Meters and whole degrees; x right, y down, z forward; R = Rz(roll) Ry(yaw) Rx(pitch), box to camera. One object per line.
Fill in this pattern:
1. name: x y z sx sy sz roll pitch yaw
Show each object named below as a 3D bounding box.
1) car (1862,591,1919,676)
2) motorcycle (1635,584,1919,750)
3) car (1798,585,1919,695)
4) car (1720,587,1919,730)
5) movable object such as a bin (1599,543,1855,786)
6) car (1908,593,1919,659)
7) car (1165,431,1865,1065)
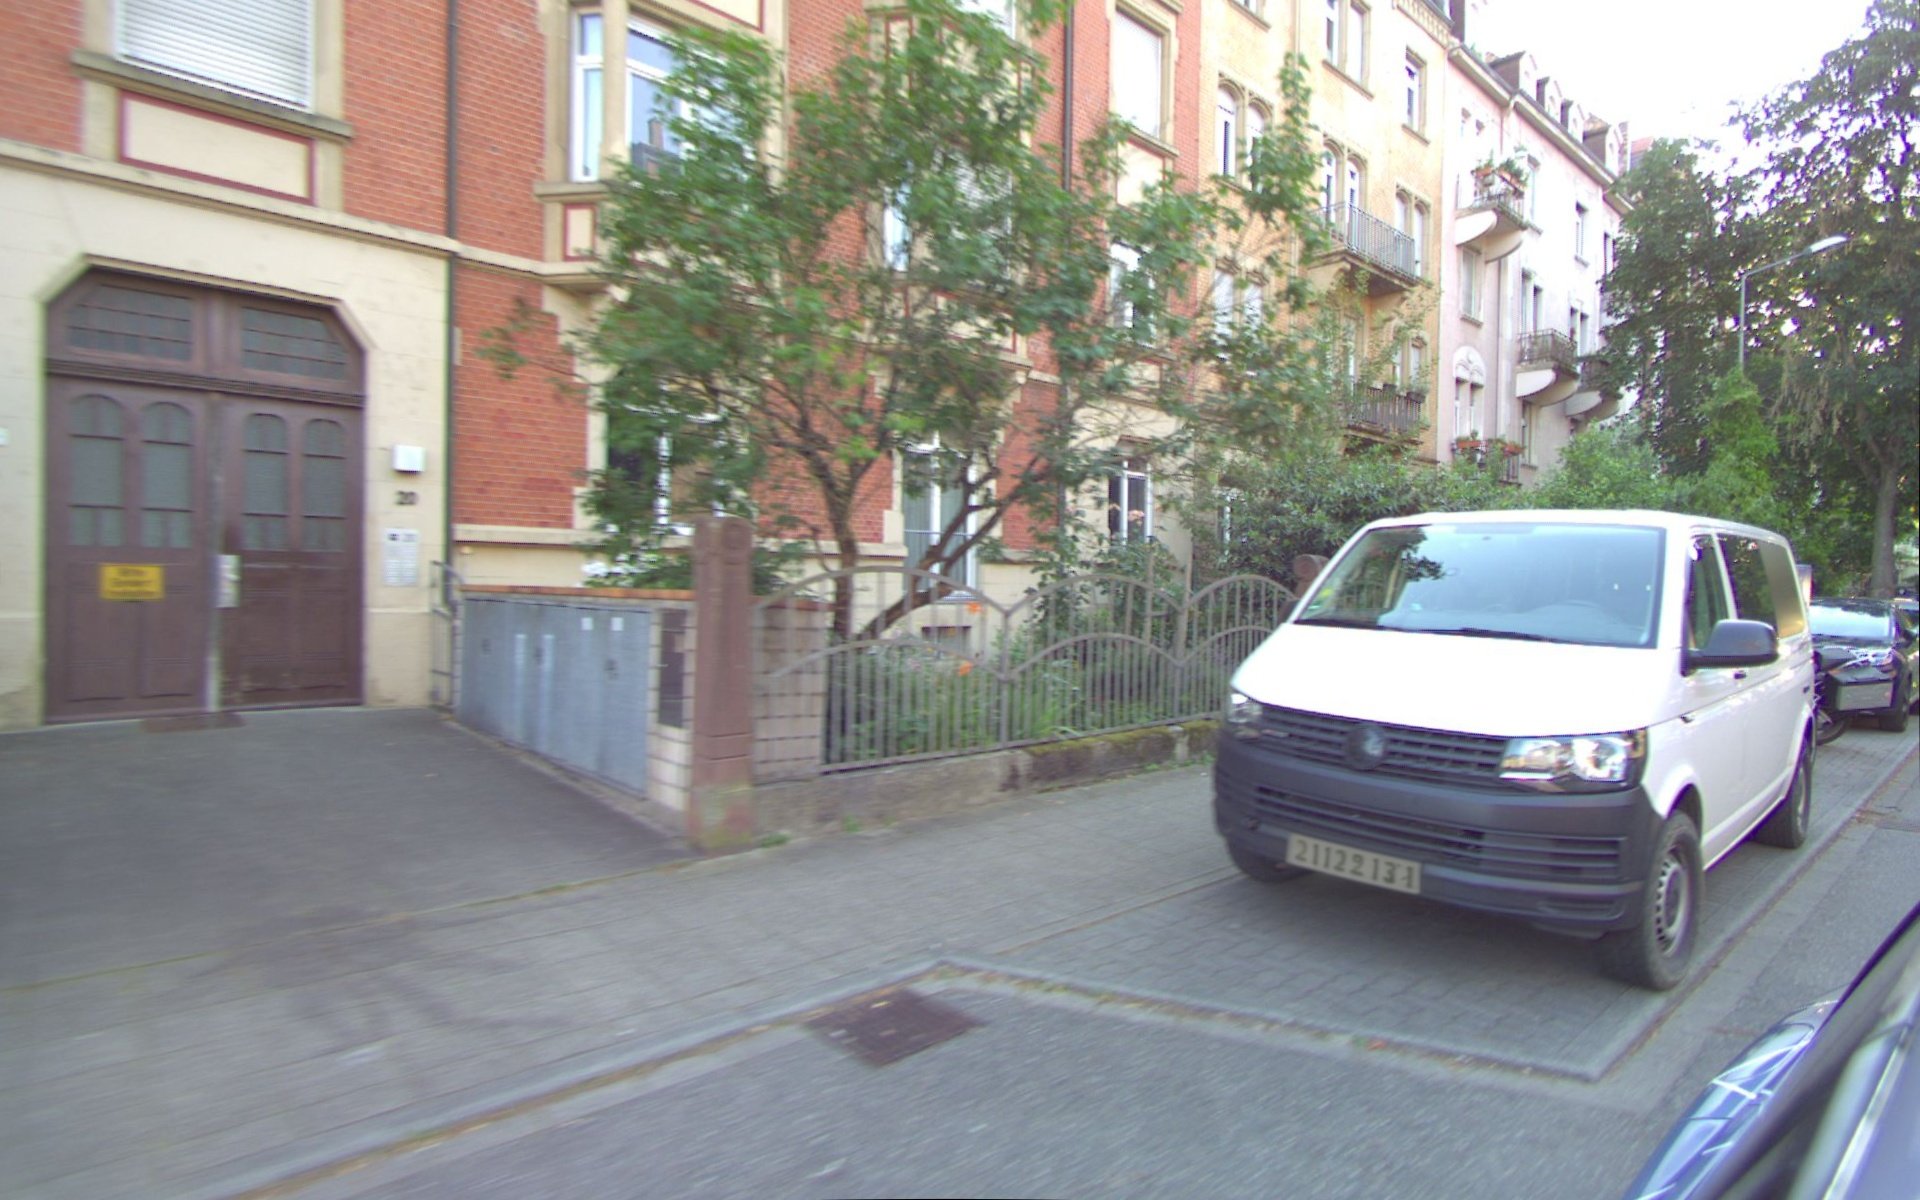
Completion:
1. car: 18.759 0.595 19.485 3.538 1.544 1.589 -1 0 -40
2. motorcycle: 8.502 0.636 10.582 2.065 1.500 1.128 3 3 15
3. car: 15.423 0.555 16.585 4.756 1.602 1.760 -1 0 -40
4. car: 11.547 0.615 13.175 4.248 1.570 1.723 -1 1 -40
5. movable object such as a bin: 7.076 0.469 9.299 2.285 1.900 1.414 -1 3 -42
6. car: 24.466 0.612 24.696 4.095 1.525 1.734 -1 1 -44
7. car: 3.591 0.413 5.830 5.451 2.063 1.864 -1 3 -43
